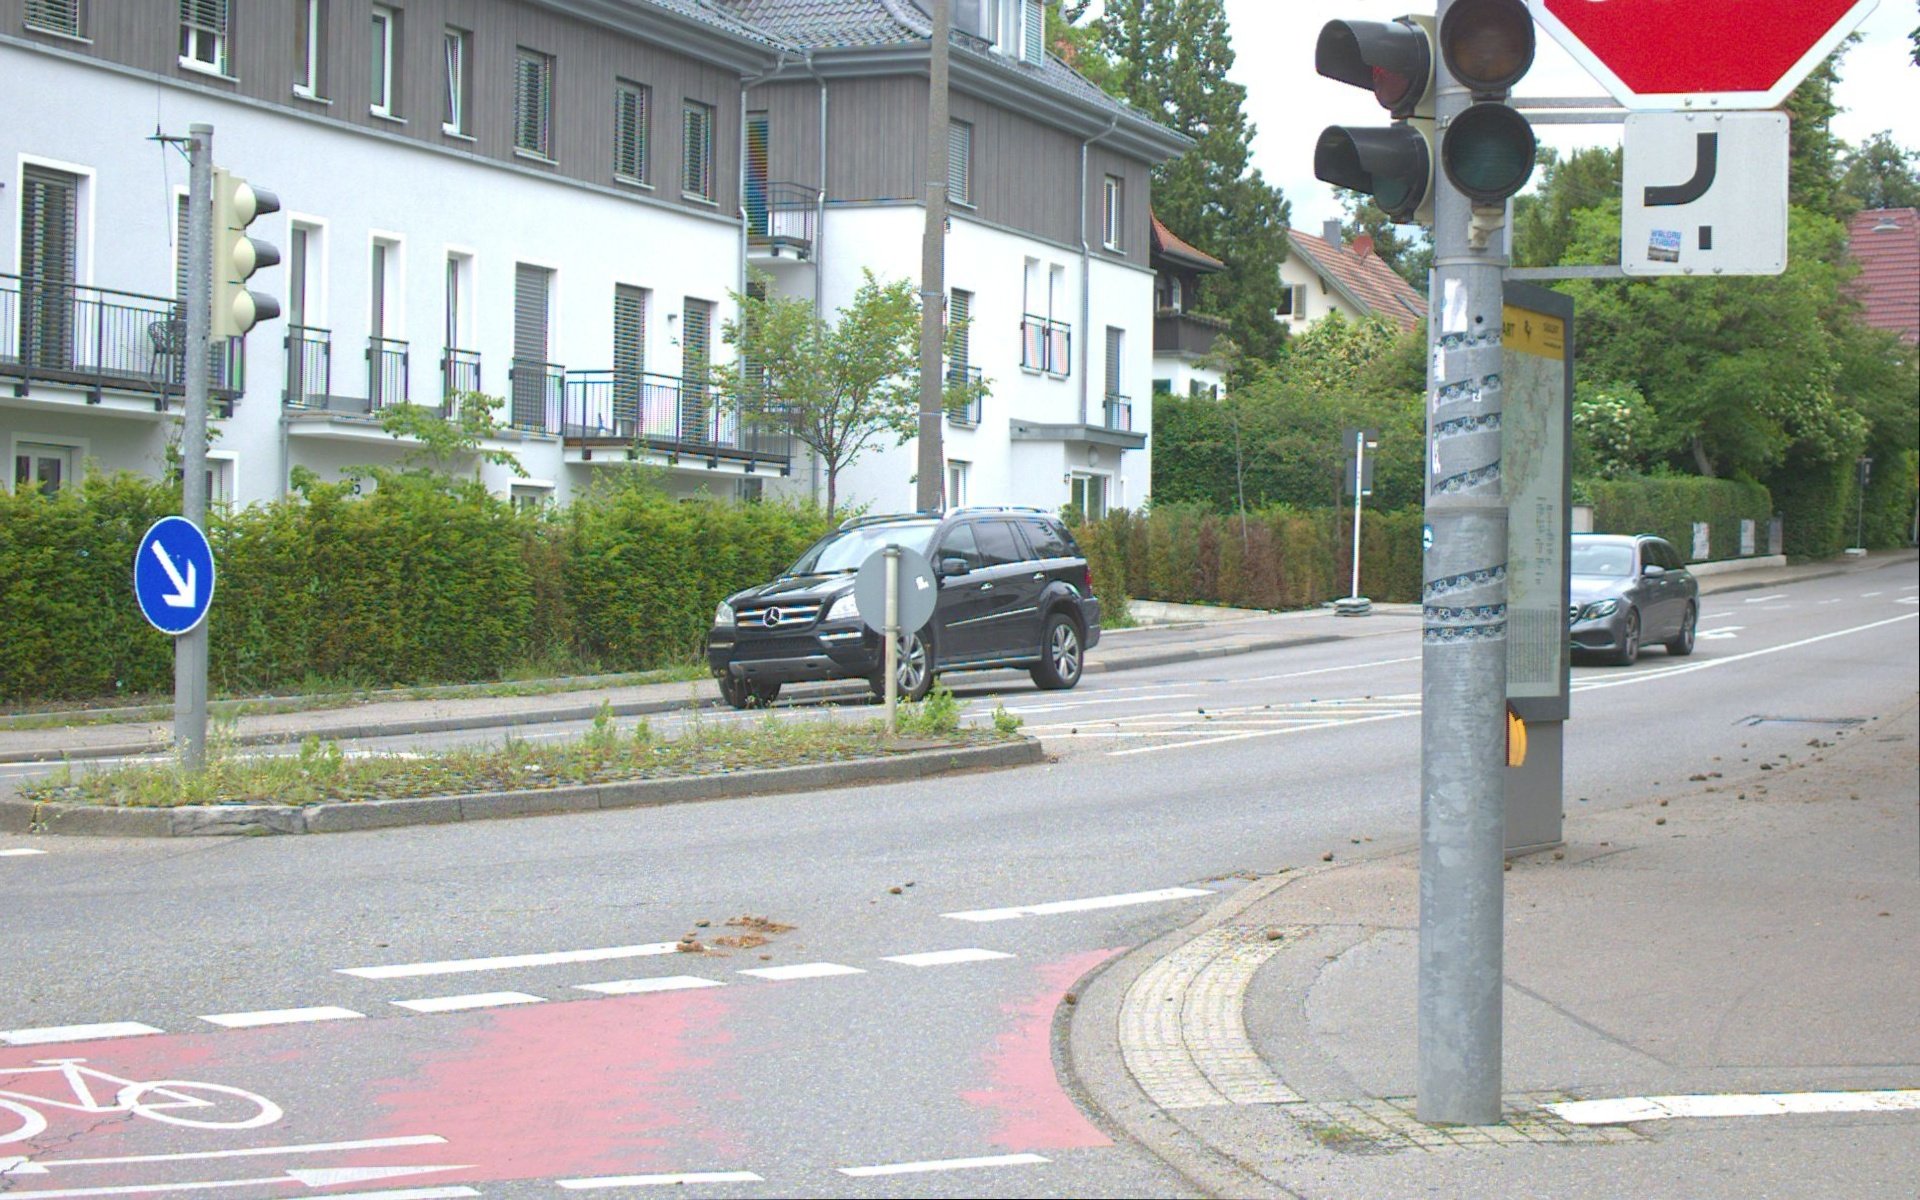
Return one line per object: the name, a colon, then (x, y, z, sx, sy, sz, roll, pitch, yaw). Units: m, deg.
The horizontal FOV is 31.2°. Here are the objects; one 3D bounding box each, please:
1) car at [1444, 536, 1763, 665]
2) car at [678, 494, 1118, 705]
car: (7.653, -0.042, 40.539, 1.942, 1.399, 4.733, 1, 2, 34)
car: (-0.487, -0.024, 33.172, 1.915, 1.874, 5.133, -1, 0, 29)
